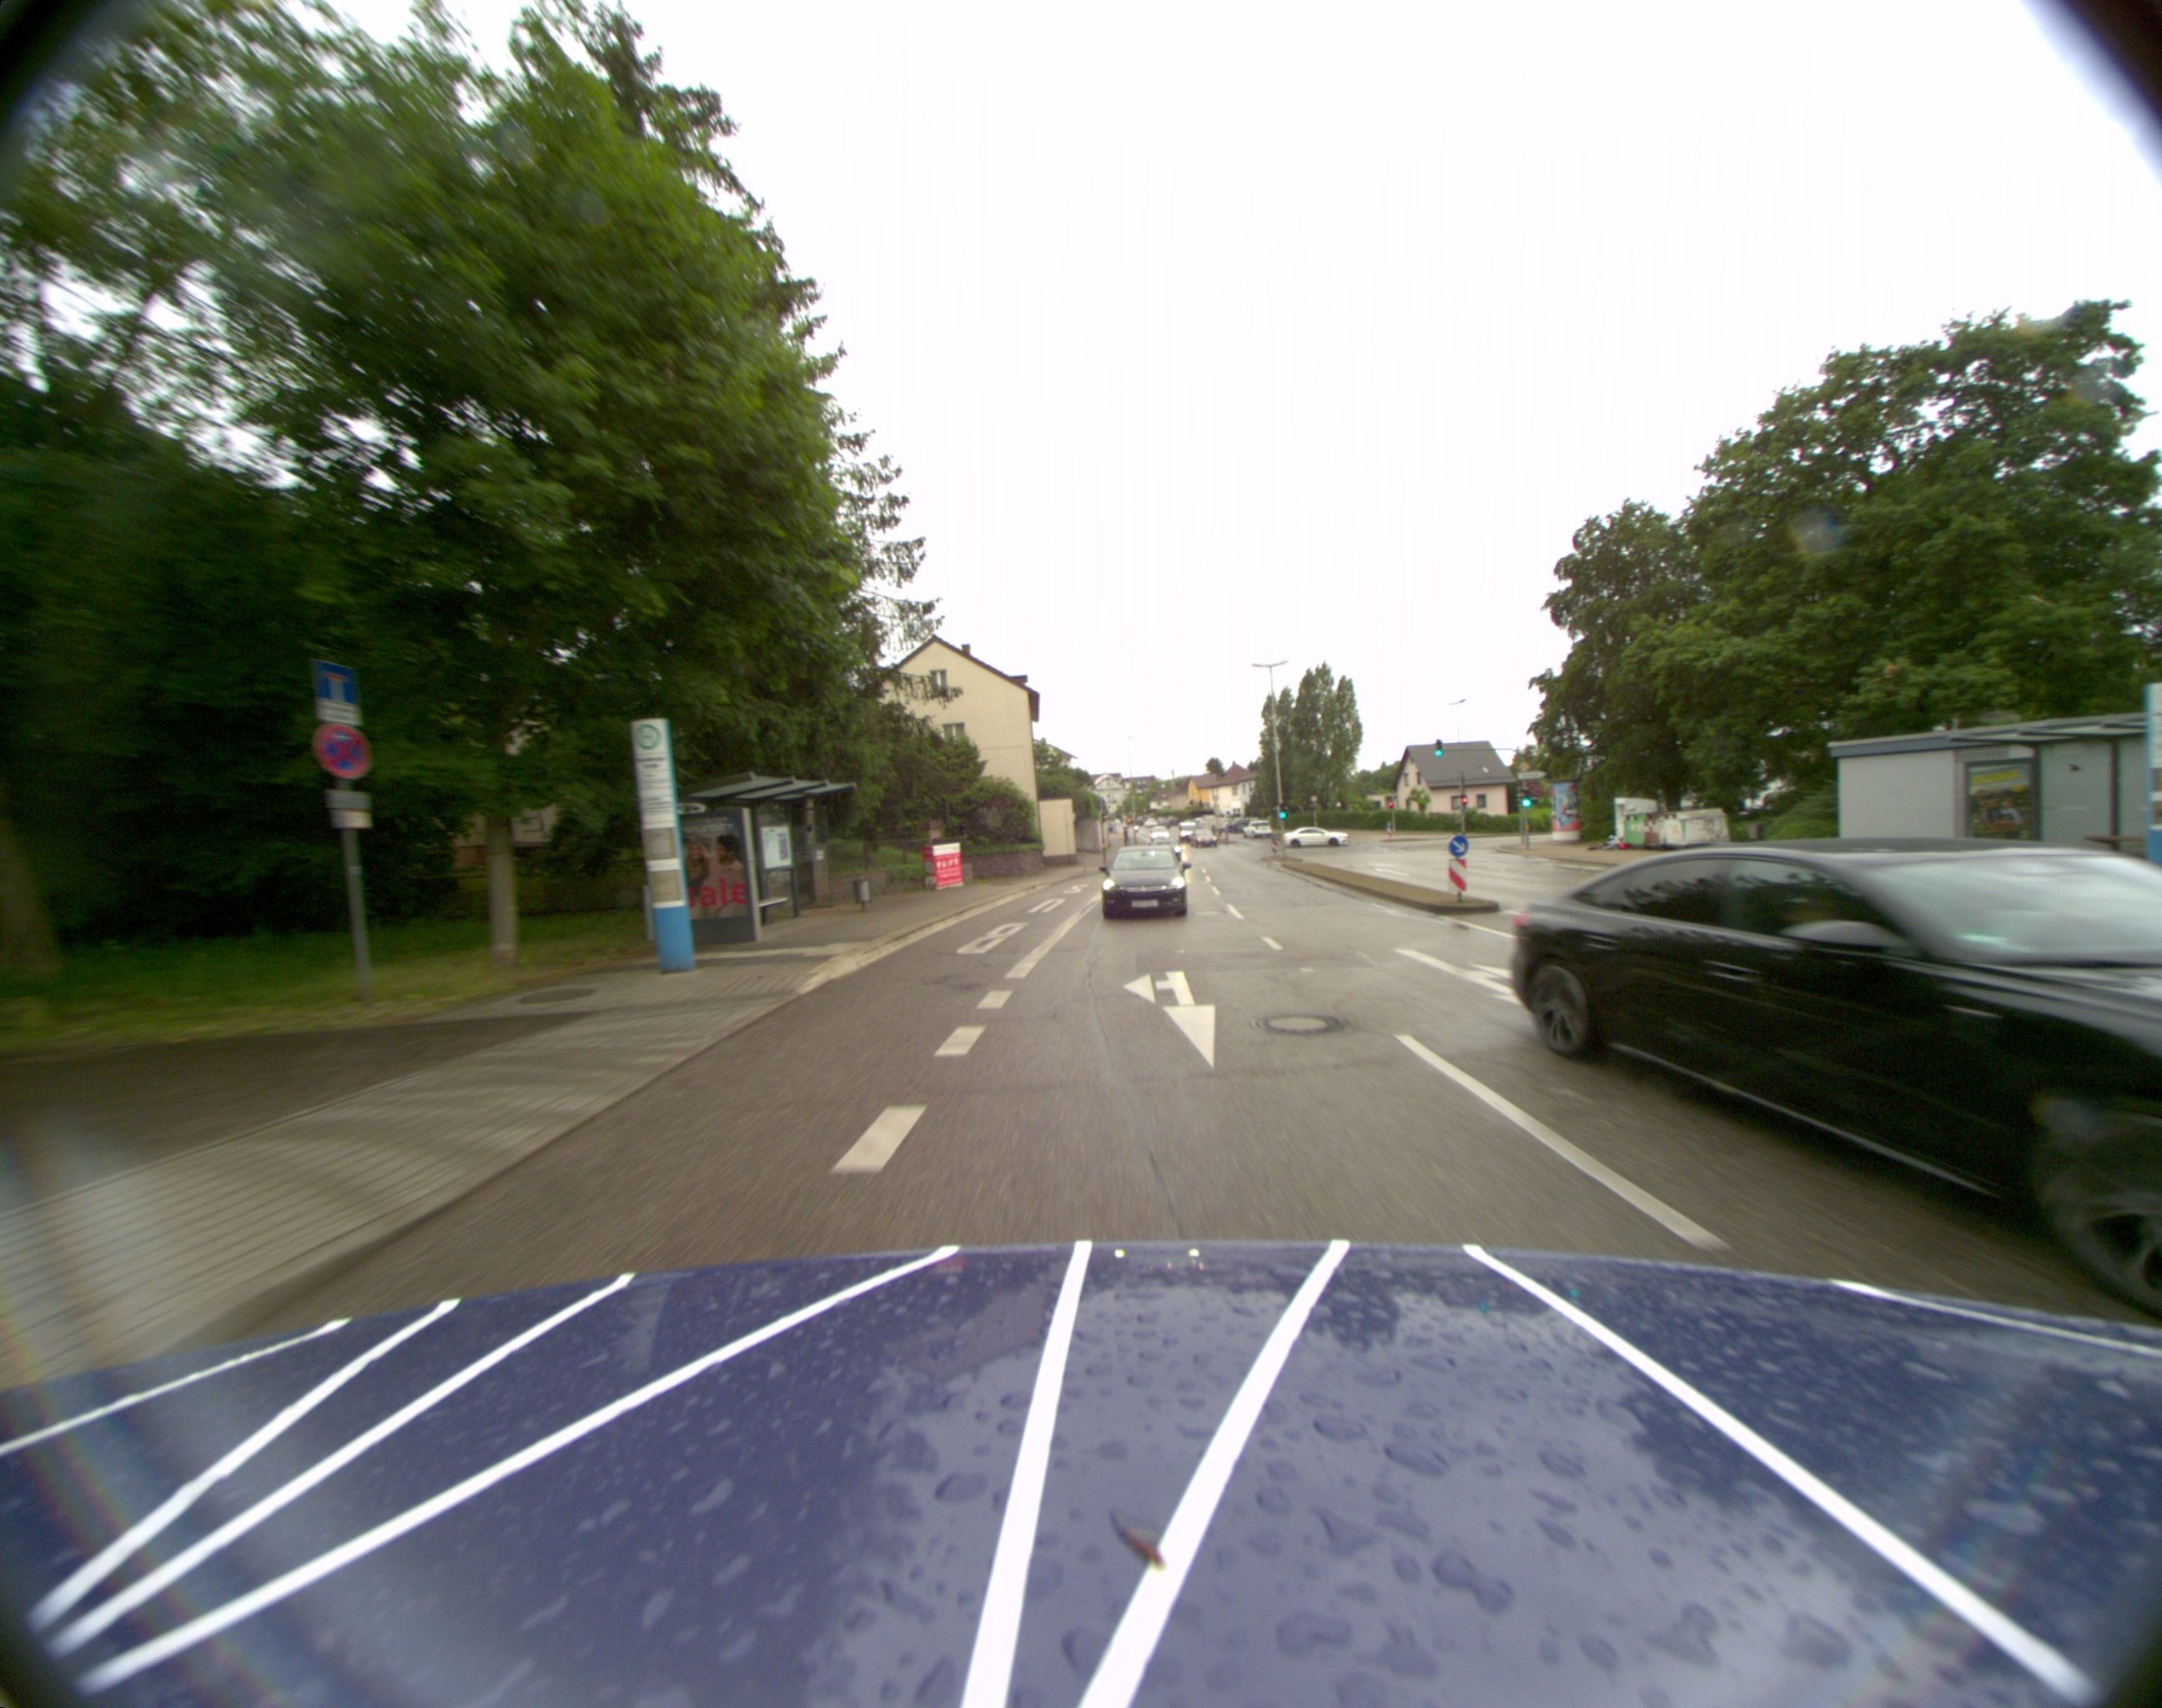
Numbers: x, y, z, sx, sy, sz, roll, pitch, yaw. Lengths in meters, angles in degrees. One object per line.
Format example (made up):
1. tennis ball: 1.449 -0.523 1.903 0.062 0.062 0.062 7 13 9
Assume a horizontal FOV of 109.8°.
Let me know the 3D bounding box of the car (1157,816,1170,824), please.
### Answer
1. car: 16.266 -6.691 149.654 1.810 1.505 3.996 -2 3 -5

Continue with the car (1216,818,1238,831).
1. car: 18.676 -3.784 97.228 1.809 1.560 4.139 -3 4 -1

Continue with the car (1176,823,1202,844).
1. car: 10.567 -2.038 74.796 1.956 1.861 4.743 -2 3 2

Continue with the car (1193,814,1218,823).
1. car: 22.076 -6.230 134.900 4.112 1.476 1.838 1 2 -9

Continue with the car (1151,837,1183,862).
1. car: 5.331 -0.268 47.116 1.839 1.448 4.002 -2 0 7

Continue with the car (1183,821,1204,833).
1. car: 14.948 -3.639 101.157 1.846 1.544 4.380 -2 3 -3

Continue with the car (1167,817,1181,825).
1. car: 16.940 -6.066 138.337 1.809 1.408 3.997 -2 3 -1

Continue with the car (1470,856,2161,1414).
1. car: 3.998 0.820 3.477 1.910 1.390 4.855 -3 2 0

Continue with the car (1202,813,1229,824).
1. car: 22.895 -6.054 129.154 4.110 1.412 1.883 -4 4 -2

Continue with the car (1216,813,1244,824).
1. car: 23.329 -5.593 119.091 3.997 1.412 1.883 -5 4 -1

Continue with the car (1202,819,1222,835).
1. car: 15.643 -3.231 90.854 1.903 1.674 4.478 -2 3 5

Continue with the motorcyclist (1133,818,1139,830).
1. motorcyclist: 7.876 -4.284 108.347 0.761 1.594 0.807 -3 4 1

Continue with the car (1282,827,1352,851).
1. car: 17.330 -1.098 55.750 4.640 1.520 1.916 -1 4 24

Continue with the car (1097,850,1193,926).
1. car: 1.497 0.661 16.878 1.839 1.390 4.001 -2 1 7

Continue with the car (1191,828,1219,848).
1. car: 10.482 -1.401 64.426 1.839 1.479 4.057 -3 4 2

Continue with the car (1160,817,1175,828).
1. car: 13.914 -5.093 122.267 1.998 1.566 3.998 -2 4 2

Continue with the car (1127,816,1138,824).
1. car: 10.953 -7.291 162.351 1.716 1.495 3.996 -3 4 -3

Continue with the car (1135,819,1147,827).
1. car: 12.095 -6.306 152.411 1.858 1.456 3.997 -3 3 -3

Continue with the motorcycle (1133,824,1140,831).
1. motorcycle: 7.893 -3.767 108.259 0.763 0.947 2.440 -2 4 2

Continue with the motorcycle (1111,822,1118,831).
1. motorcycle: 4.979 -4.065 113.139 0.694 1.318 2.477 -2 4 -3

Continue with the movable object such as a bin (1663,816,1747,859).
1. movable object such as a bin: 23.617 -0.632 28.813 2.061 1.506 1.344 -2 2 10

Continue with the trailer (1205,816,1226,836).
1. trailer: 15.266 -3.227 86.583 1.900 2.167 4.035 -2 3 5

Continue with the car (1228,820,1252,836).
1. car: 18.917 -3.083 90.692 1.809 1.661 4.594 -3 4 -1

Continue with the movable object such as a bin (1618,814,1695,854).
1. movable object such as a bin: 24.088 -0.853 31.844 2.061 1.560 1.582 -2 2 10

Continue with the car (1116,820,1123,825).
1. car: 10.890 -8.915 214.663 1.837 1.522 3.997 -2 3 -1

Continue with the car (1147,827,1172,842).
1. car: 8.077 -2.003 78.192 1.841 1.473 3.997 -2 2 -4

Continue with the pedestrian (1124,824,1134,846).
1. pedestrian: 4.400 -1.751 69.842 0.799 2.003 0.734 -3 4 5

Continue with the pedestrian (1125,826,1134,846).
1. pedestrian: 4.630 -1.710 71.867 0.795 1.771 1.011 -1 4 5

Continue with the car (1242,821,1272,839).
1. car: 17.518 -2.393 75.816 1.828 1.648 4.462 -2 3 -3

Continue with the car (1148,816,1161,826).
1. car: 13.134 -5.993 136.619 1.840 1.548 4.767 -2 4 0

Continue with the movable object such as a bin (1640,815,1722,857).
1. movable object such as a bin: 23.848 -0.730 30.267 2.061 1.560 1.582 -2 2 10

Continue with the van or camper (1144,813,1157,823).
1. van or camper: 15.114 -7.845 165.184 2.190 2.003 5.129 -3 4 -3
